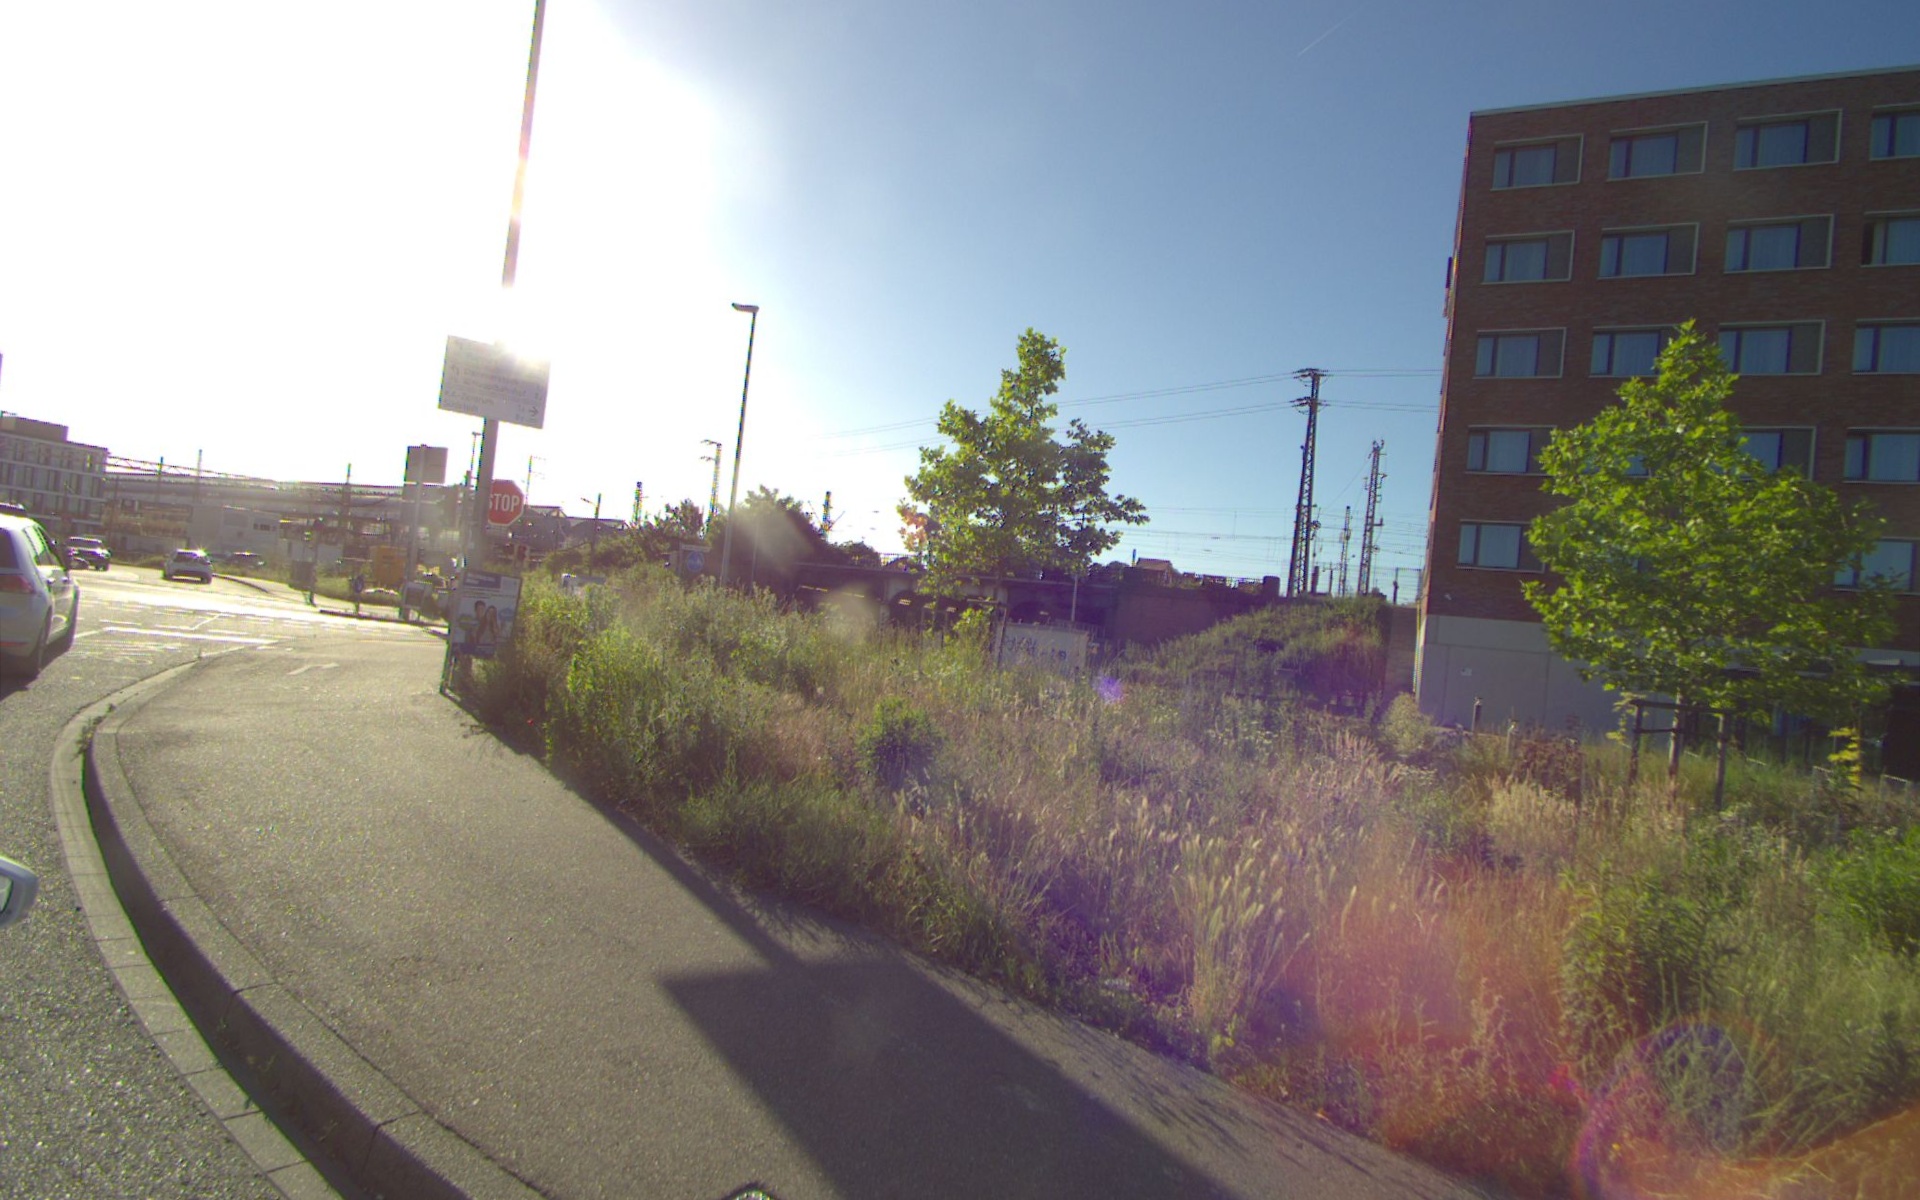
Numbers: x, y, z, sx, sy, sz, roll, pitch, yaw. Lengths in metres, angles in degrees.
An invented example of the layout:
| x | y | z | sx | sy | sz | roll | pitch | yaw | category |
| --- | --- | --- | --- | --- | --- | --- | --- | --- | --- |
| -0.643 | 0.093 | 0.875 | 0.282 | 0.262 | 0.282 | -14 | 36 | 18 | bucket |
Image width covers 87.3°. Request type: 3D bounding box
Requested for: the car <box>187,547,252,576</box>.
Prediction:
| x | y | z | sx | sy | sz | roll | pitch | yaw | category |
| --- | --- | --- | --- | --- | --- | --- | --- | --- | --- |
| -63.054 | -3.277 | 85.678 | 1.629 | 1.807 | 3.994 | 5 | -4 | 34 | car |

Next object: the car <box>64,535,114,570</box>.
| x | y | z | sx | sy | sz | roll | pitch | yaw | category |
| --- | --- | --- | --- | --- | --- | --- | --- | --- | --- |
| -44.756 | -2.460 | 51.682 | 1.742 | 1.493 | 3.954 | 8 | -3 | -42 | car |

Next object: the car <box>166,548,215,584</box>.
| x | y | z | sx | sy | sz | roll | pitch | yaw | category |
| --- | --- | --- | --- | --- | --- | --- | --- | --- | --- |
| -38.644 | -1.716 | 50.491 | 1.741 | 1.493 | 3.958 | 8 | -3 | -39 | car |

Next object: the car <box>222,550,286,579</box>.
| x | y | z | sx | sy | sz | roll | pitch | yaw | category |
| --- | --- | --- | --- | --- | --- | --- | --- | --- | --- |
| -59.255 | -2.950 | 84.482 | 1.590 | 1.724 | 3.994 | 5 | -4 | 34 | car |

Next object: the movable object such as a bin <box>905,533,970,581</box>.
| x | y | z | sx | sy | sz | roll | pitch | yaw | category |
| --- | --- | --- | --- | --- | --- | --- | --- | --- | --- |
| -1.365 | -2.685 | 64.080 | 1.964 | 2.250 | 4.833 | 6 | -3 | 25 | movable object such as a bin |

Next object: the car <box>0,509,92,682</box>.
| x | y | z | sx | sy | sz | roll | pitch | yaw | category |
| --- | --- | --- | --- | --- | --- | --- | --- | --- | --- |
| -9.846 | -0.209 | 9.659 | 1.961 | 1.443 | 3.897 | 8 | -3 | -38 | car |

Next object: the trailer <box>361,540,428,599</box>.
| x | y | z | sx | sy | sz | roll | pitch | yaw | category |
| --- | --- | --- | --- | --- | --- | --- | --- | --- | --- |
| -37.799 | -2.025 | 67.128 | 2.980 | 3.328 | 6.609 | 9 | -3 | -35 | trailer |

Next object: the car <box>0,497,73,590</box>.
| x | y | z | sx | sy | sz | roll | pitch | yaw | category |
| --- | --- | --- | --- | --- | --- | --- | --- | --- | --- |
| -22.953 | -1.458 | 23.547 | 4.738 | 1.909 | 2.115 | 5 | -2 | 35 | car |
